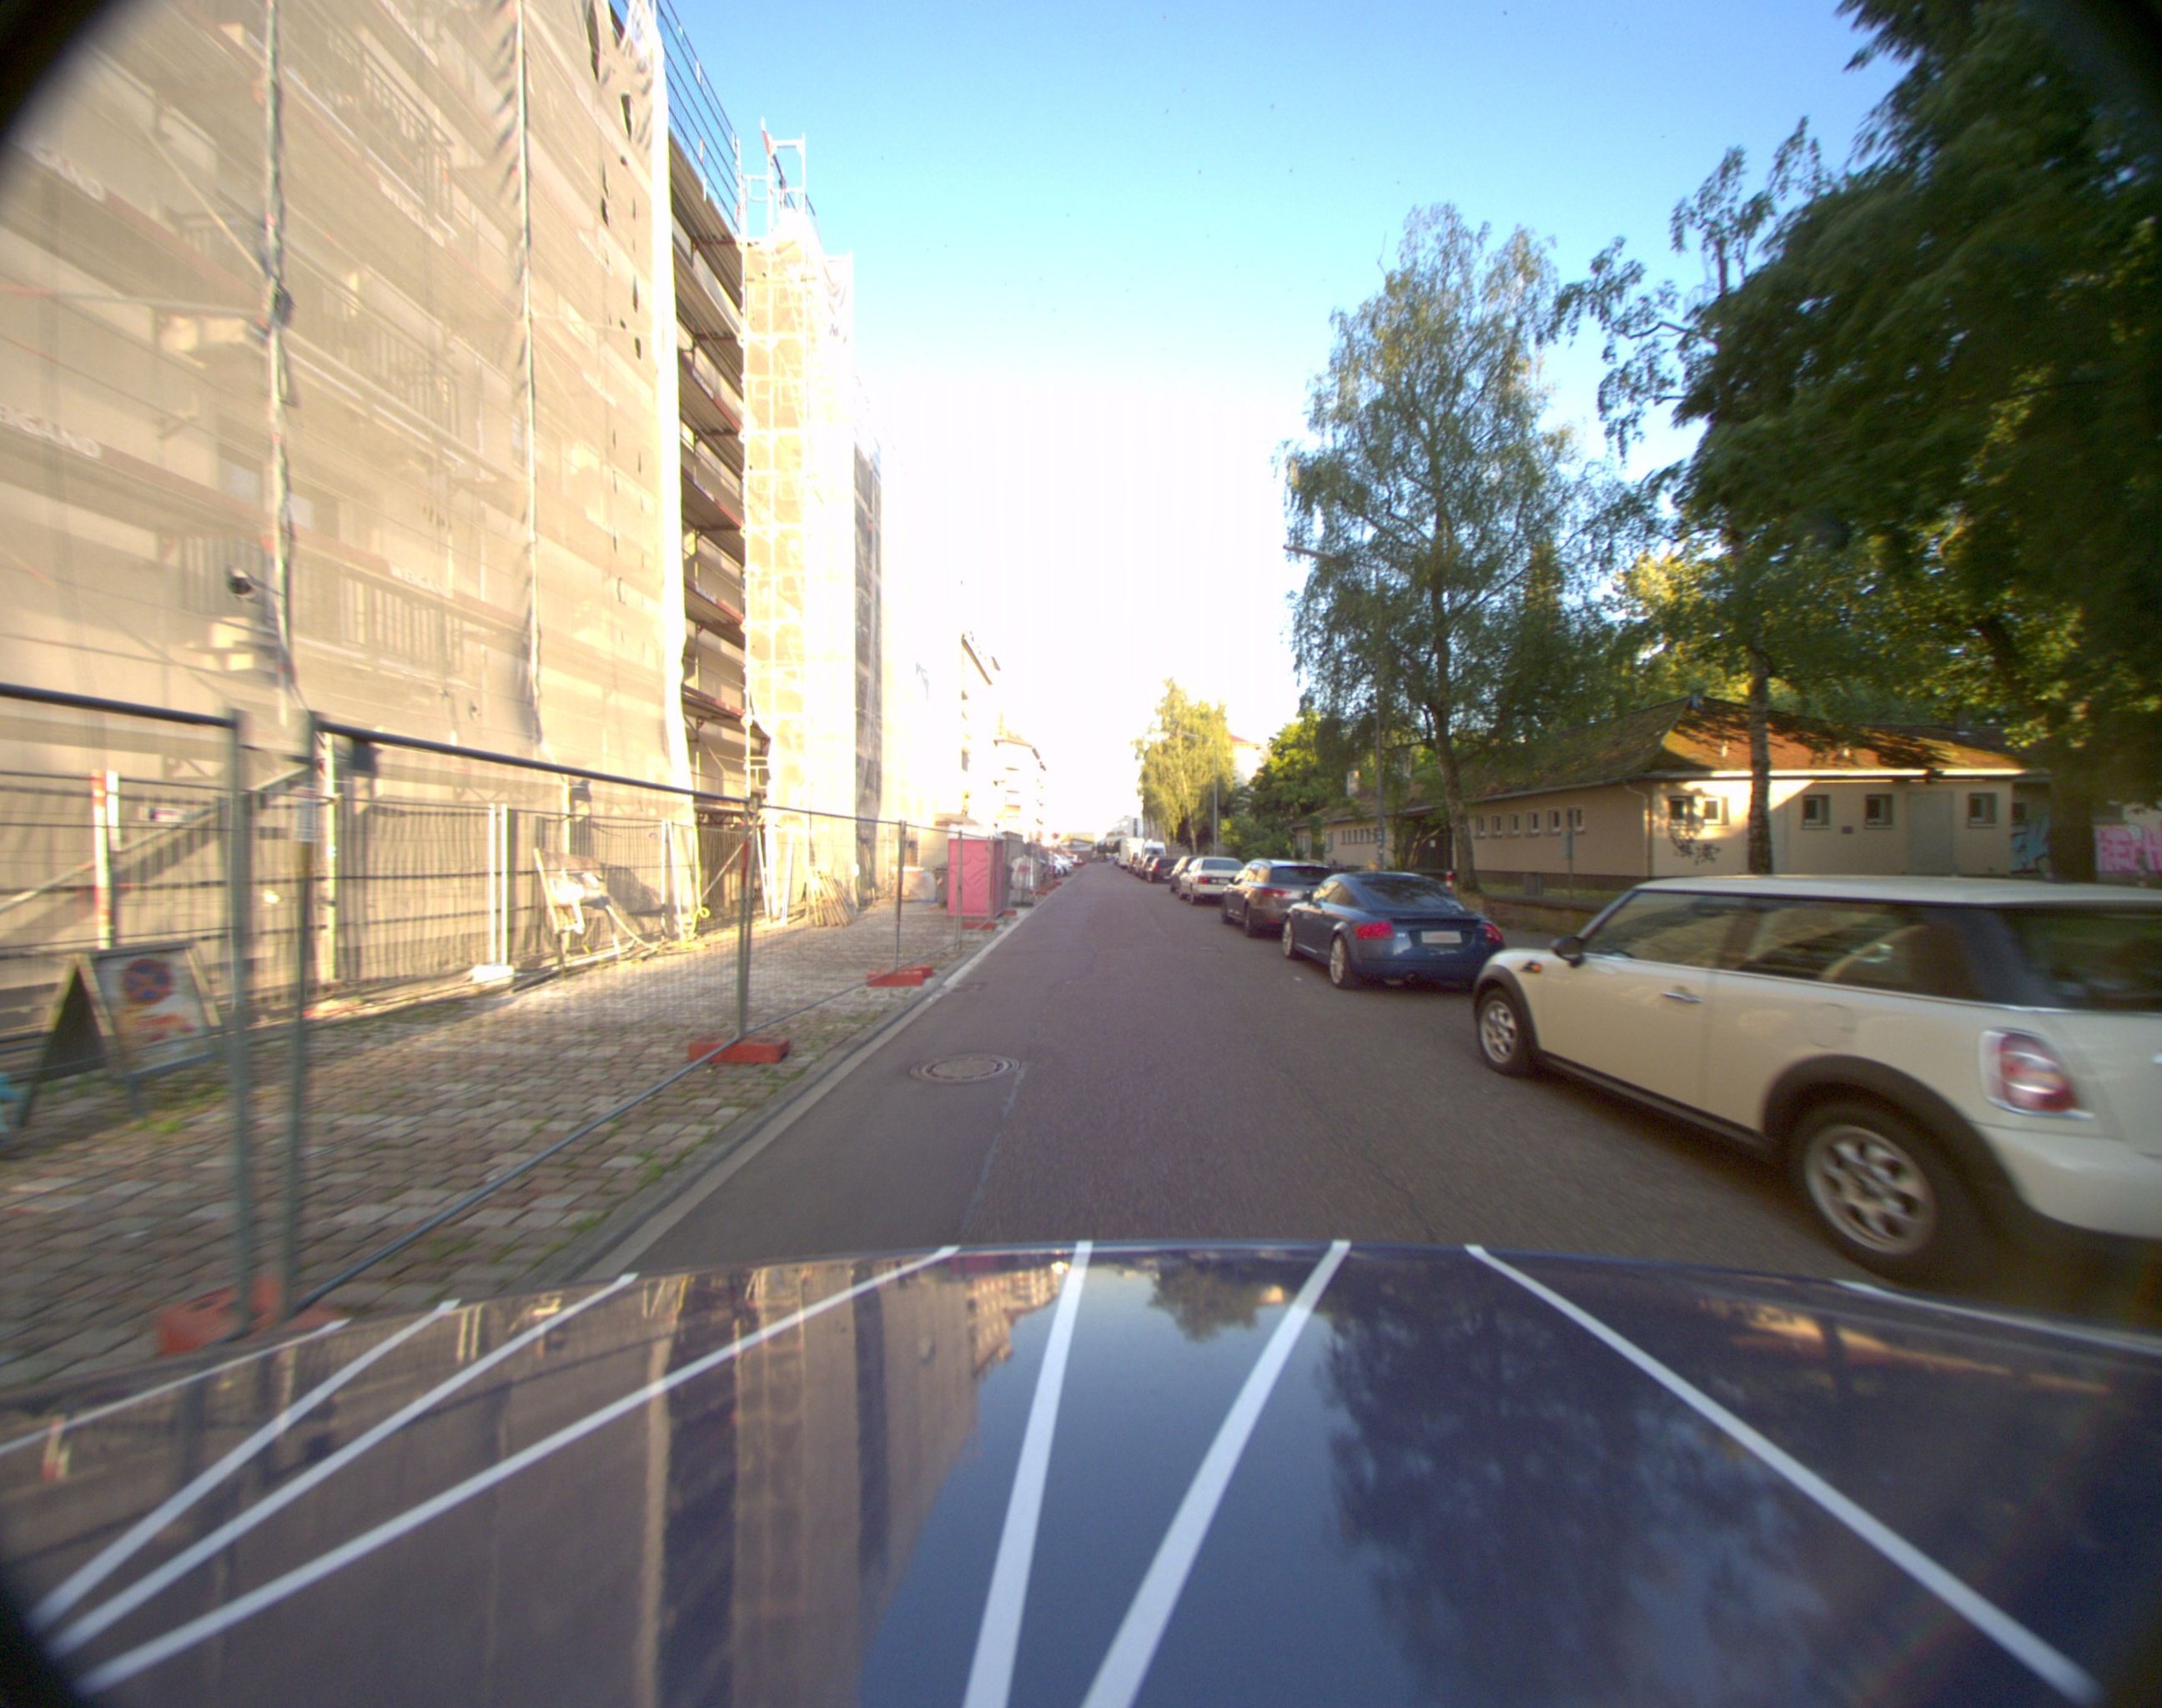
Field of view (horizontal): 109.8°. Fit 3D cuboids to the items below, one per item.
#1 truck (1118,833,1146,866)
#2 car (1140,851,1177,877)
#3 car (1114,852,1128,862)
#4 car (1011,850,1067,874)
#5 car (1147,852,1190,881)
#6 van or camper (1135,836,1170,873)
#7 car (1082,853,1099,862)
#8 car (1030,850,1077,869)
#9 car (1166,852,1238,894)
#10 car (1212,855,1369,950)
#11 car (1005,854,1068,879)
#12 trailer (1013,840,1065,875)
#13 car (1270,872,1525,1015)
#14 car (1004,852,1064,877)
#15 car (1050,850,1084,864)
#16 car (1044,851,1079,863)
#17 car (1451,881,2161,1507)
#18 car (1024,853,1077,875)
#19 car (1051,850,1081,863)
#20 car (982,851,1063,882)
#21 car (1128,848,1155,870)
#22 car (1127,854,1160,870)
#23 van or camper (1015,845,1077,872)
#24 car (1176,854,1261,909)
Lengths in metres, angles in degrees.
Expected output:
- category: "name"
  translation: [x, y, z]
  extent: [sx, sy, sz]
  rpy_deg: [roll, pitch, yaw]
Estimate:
- category: "truck"
  translation: [5.388, -0.467, 81.239]
  extent: [2.532, 3.334, 8.017]
  rpy_deg: [2, 0, 1]
- category: "car"
  translation: [4.777, 0.582, 47.411]
  extent: [1.998, 1.510, 4.789]
  rpy_deg: [-1, 0, 2]
- category: "car"
  translation: [6.575, 0.472, 125.129]
  extent: [1.998, 1.481, 4.431]
  rpy_deg: [-1, 0, 0]
- category: "car"
  translation: [-3.056, 0.583, 55.986]
  extent: [3.997, 1.718, 1.999]
  rpy_deg: [0, 2, 0]
- category: "car"
  translation: [4.686, 0.648, 41.257]
  extent: [1.998, 1.444, 4.288]
  rpy_deg: [-1, 0, 2]
- category: "van or camper"
  translation: [4.942, 0.057, 53.467]
  extent: [1.998, 2.442, 6.083]
  rpy_deg: [0, 0, 1]
- category: "car"
  translation: [1.492, 0.581, 126.576]
  extent: [2.000, 1.481, 4.427]
  rpy_deg: [-1, 0, -10]
- category: "car"
  translation: [-2.467, 0.482, 68.298]
  extent: [4.113, 1.576, 1.854]
  rpy_deg: [0, 0, -2]
- category: "car"
  translation: [4.533, 0.661, 28.994]
  extent: [1.999, 1.444, 3.999]
  rpy_deg: [-1, 0, -1]
- category: "car"
  translation: [3.914, 0.814, 15.104]
  extent: [1.864, 1.529, 4.758]
  rpy_deg: [1, 0, 1]
- category: "car"
  translation: [-2.840, 0.776, 49.081]
  extent: [3.974, 1.562, 1.788]
  rpy_deg: [0, 0, -2]
- category: "trailer"
  translation: [-2.936, 0.241, 53.882]
  extent: [3.576, 2.323, 1.940]
  rpy_deg: [2, 1, -2]
- category: "car"
  translation: [3.736, 0.965, 9.821]
  extent: [1.663, 1.306, 4.155]
  rpy_deg: [1, 0, 2]
- category: "car"
  translation: [-3.140, 0.719, 51.363]
  extent: [3.997, 1.628, 1.903]
  rpy_deg: [0, 0, -2]
- category: "car"
  translation: [-1.909, 0.414, 104.848]
  extent: [4.684, 1.988, 2.000]
  rpy_deg: [0, 0, 2]
- category: "car"
  translation: [-2.480, 0.392, 96.882]
  extent: [4.310, 1.532, 1.924]
  rpy_deg: [0, 0, 3]
- category: "car"
  translation: [3.565, 0.955, 3.726]
  extent: [1.605, 1.423, 3.803]
  rpy_deg: [2, 1, 0]
- category: "car"
  translation: [-2.329, 0.743, 58.611]
  extent: [3.997, 1.630, 2.000]
  rpy_deg: [0, 1, 0]
- category: "car"
  translation: [-1.957, 0.334, 101.938]
  extent: [3.997, 1.619, 1.784]
  rpy_deg: [0, 0, -1]
- category: "car"
  translation: [-3.157, 0.668, 41.364]
  extent: [4.163, 1.606, 1.872]
  rpy_deg: [0, 0, 3]
- category: "car"
  translation: [5.064, 0.376, 63.968]
  extent: [1.915, 1.777, 4.949]
  rpy_deg: [1, 0, 0]
- category: "car"
  translation: [4.831, 0.619, 59.217]
  extent: [1.999, 1.182, 4.035]
  rpy_deg: [-1, 0, -4]
- category: "van or camper"
  translation: [-2.788, 0.364, 61.349]
  extent: [4.846, 2.084, 2.040]
  rpy_deg: [0, 0, 1]
- category: "car"
  translation: [4.103, 0.756, 23.392]
  extent: [1.787, 1.437, 4.748]
  rpy_deg: [2, 0, 1]
